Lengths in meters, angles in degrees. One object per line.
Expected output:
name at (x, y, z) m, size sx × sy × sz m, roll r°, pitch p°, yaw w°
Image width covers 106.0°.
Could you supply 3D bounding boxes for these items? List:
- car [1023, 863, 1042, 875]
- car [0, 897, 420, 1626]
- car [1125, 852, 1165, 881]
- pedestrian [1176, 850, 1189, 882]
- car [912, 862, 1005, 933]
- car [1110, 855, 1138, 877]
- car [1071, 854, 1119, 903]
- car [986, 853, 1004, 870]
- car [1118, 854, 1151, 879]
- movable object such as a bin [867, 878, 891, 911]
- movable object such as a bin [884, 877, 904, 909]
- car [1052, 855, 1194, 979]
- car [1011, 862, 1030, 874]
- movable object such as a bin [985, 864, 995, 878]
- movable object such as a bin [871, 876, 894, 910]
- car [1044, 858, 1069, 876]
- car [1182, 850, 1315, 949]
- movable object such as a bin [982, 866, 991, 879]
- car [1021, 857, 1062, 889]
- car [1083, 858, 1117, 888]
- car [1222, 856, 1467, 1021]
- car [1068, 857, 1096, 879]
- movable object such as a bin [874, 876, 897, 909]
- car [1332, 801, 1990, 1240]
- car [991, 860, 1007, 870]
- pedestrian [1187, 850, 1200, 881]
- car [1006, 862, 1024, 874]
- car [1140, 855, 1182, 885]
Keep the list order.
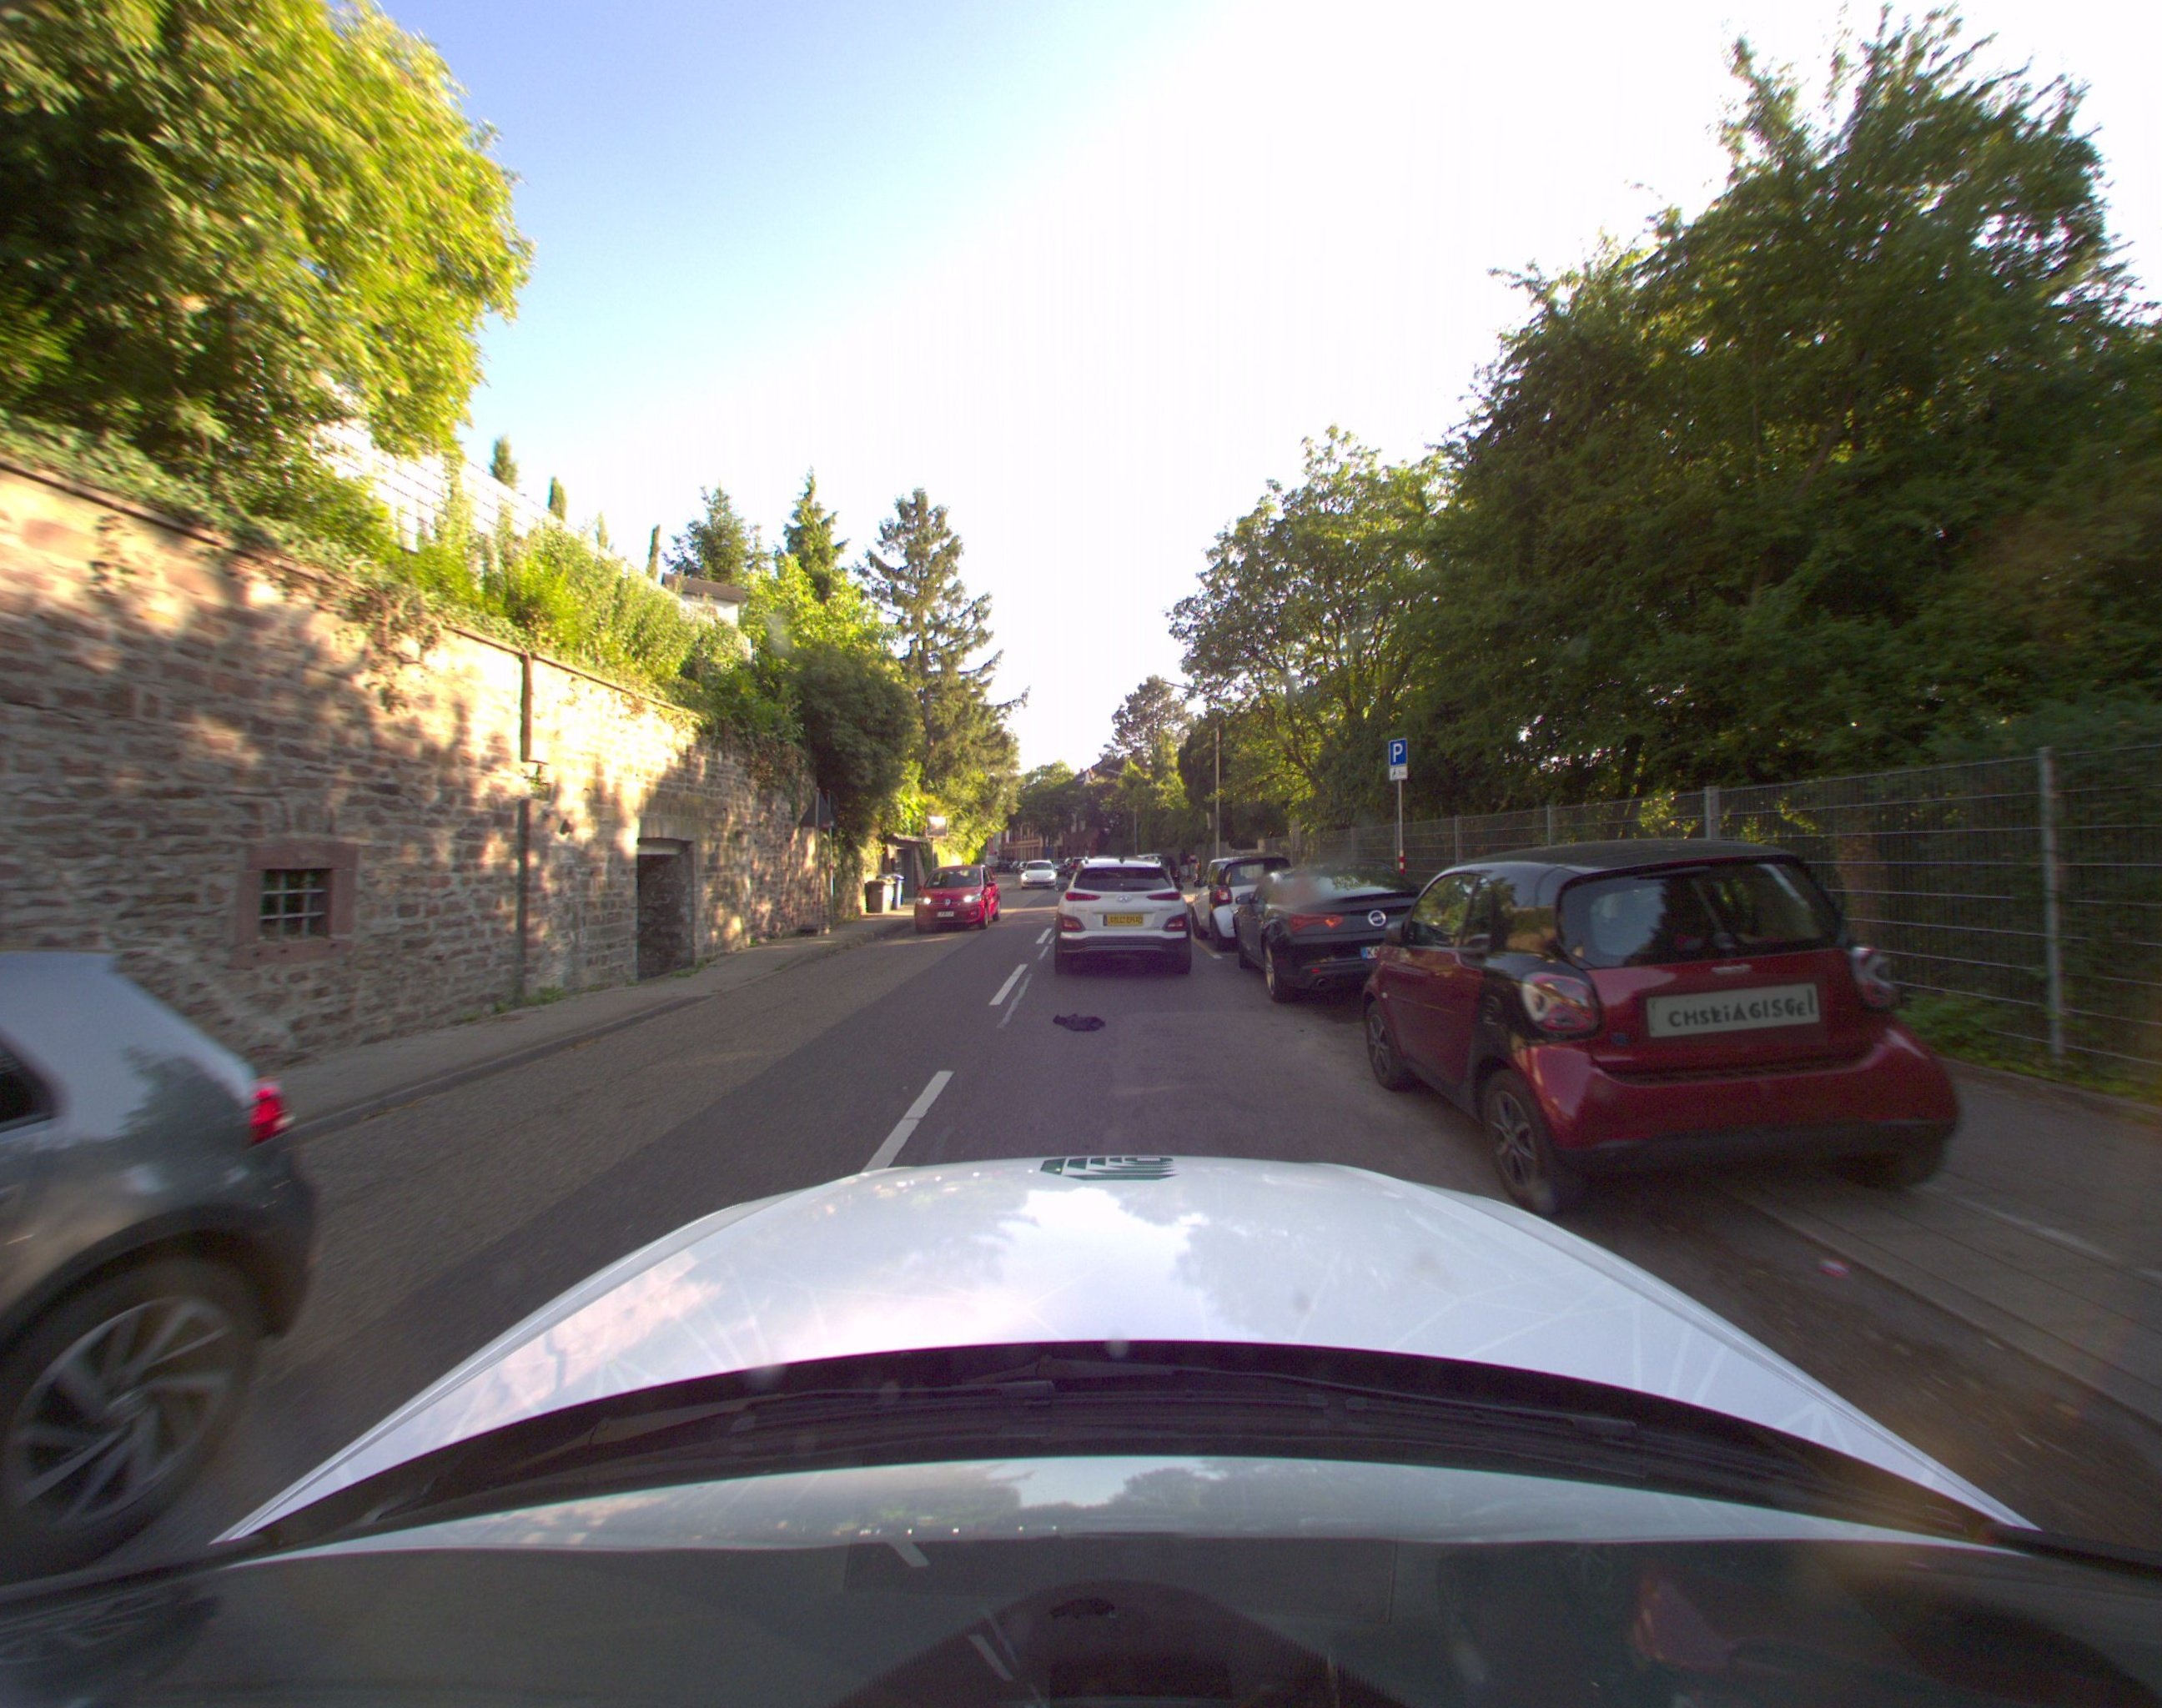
car at (-5.308, 1.617, 88.028) m, size 1.528 × 1.260 × 3.346 m, roll -1°, pitch -1°, yaw -13°
car at (-3.016, 0.859, 0.687) m, size 1.643 × 1.411 × 3.930 m, roll -2°, pitch 0°, yaw 0°
car at (3.787, 0.765, 48.695) m, size 1.592 × 1.565 × 3.990 m, roll -3°, pitch -1°, yaw -7°
pedestrian at (5.266, 0.628, 42.192) m, size 0.501 × 1.606 × 0.491 m, roll -3°, pitch -1°, yaw 1°
car at (-2.847, 0.974, 19.636) m, size 1.545 × 1.466 × 3.569 m, roll -3°, pitch 0°, yaw 1°
car at (3.122, 0.883, 59.729) m, size 1.590 × 1.489 × 3.598 m, roll -4°, pitch 0°, yaw -3°
car at (0.427, 0.787, 28.183) m, size 1.507 × 1.533 × 3.546 m, roll -2°, pitch 0°, yaw -1°
car at (-13.523, 1.175, 127.836) m, size 1.934 × 2.583 × 4.367 m, roll -2°, pitch -1°, yaw -17°
car at (3.508, 0.841, 53.937) m, size 1.590 × 1.519 × 3.927 m, roll -4°, pitch -1°, yaw -3°
movable object such as a bin at (-5.799, 1.164, 23.378) m, size 0.582 × 0.937 × 0.438 m, roll 0°, pitch -1°, yaw -1°
movable object such as a bin at (-5.717, 1.181, 24.918) m, size 0.488 × 0.964 × 0.583 m, roll 0°, pitch -1°, yaw -1°
car at (0.592, 0.801, 12.192) m, size 1.765 × 1.542 × 4.002 m, roll 0°, pitch 0°, yaw 2°
car at (-8.100, 1.845, 109.020) m, size 1.759 × 1.616 × 3.978 m, roll 0°, pitch 0°, yaw -16°
movable object such as a bin at (-7.931, 1.456, 71.216) m, size 0.789 × 1.189 × 0.772 m, roll 0°, pitch -1°, yaw 0°
movable object such as a bin at (-5.799, 1.143, 23.837) m, size 0.571 × 0.985 × 0.438 m, roll 0°, pitch -1°, yaw -1°
car at (-2.252, 1.169, 74.778) m, size 1.592 × 1.582 × 3.345 m, roll -1°, pitch -1°, yaw -14°
car at (2.899, 0.731, 14.683) m, size 1.621 × 1.509 × 2.901 m, roll -3°, pitch 0°, yaw -3°
movable object such as a bin at (-7.078, 1.378, 61.207) m, size 0.493 × 1.011 × 1.113 m, roll 0°, pitch -1°, yaw 1°
car at (-2.058, 0.996, 43.194) m, size 1.734 × 1.474 × 4.002 m, roll -5°, pitch -1°, yaw 2°
car at (0.998, 0.920, 41.268) m, size 1.564 × 1.477 × 3.551 m, roll 0°, pitch 0°, yaw 4°
car at (2.865, 0.795, 9.979) m, size 1.703 × 1.498 × 4.818 m, roll 1°, pitch 0°, yaw 3°
car at (0.070, 0.996, 58.709) m, size 1.591 × 1.461 × 3.091 m, roll -1°, pitch -1°, yaw -7°
movable object such as a bin at (-5.831, 1.148, 24.326) m, size 0.571 × 0.985 × 0.438 m, roll 0°, pitch -1°, yaw -1°
car at (2.683, 0.669, 4.610) m, size 1.646 × 1.564 × 2.875 m, roll -6°, pitch -1°, yaw 3°
car at (-10.581, 1.389, 104.967) m, size 1.530 × 1.260 × 3.341 m, roll -1°, pitch -1°, yaw -17°
pedestrian at (5.824, 0.595, 42.188) m, size 0.501 × 1.569 × 0.504 m, roll -3°, pitch -1°, yaw 1°
car at (-9.335, 1.927, 114.639) m, size 1.759 × 1.616 × 3.978 m, roll 0°, pitch 0°, yaw -16°
car at (4.178, 0.809, 43.207) m, size 1.682 × 1.431 × 3.997 m, roll -3°, pitch 0°, yaw -1°
